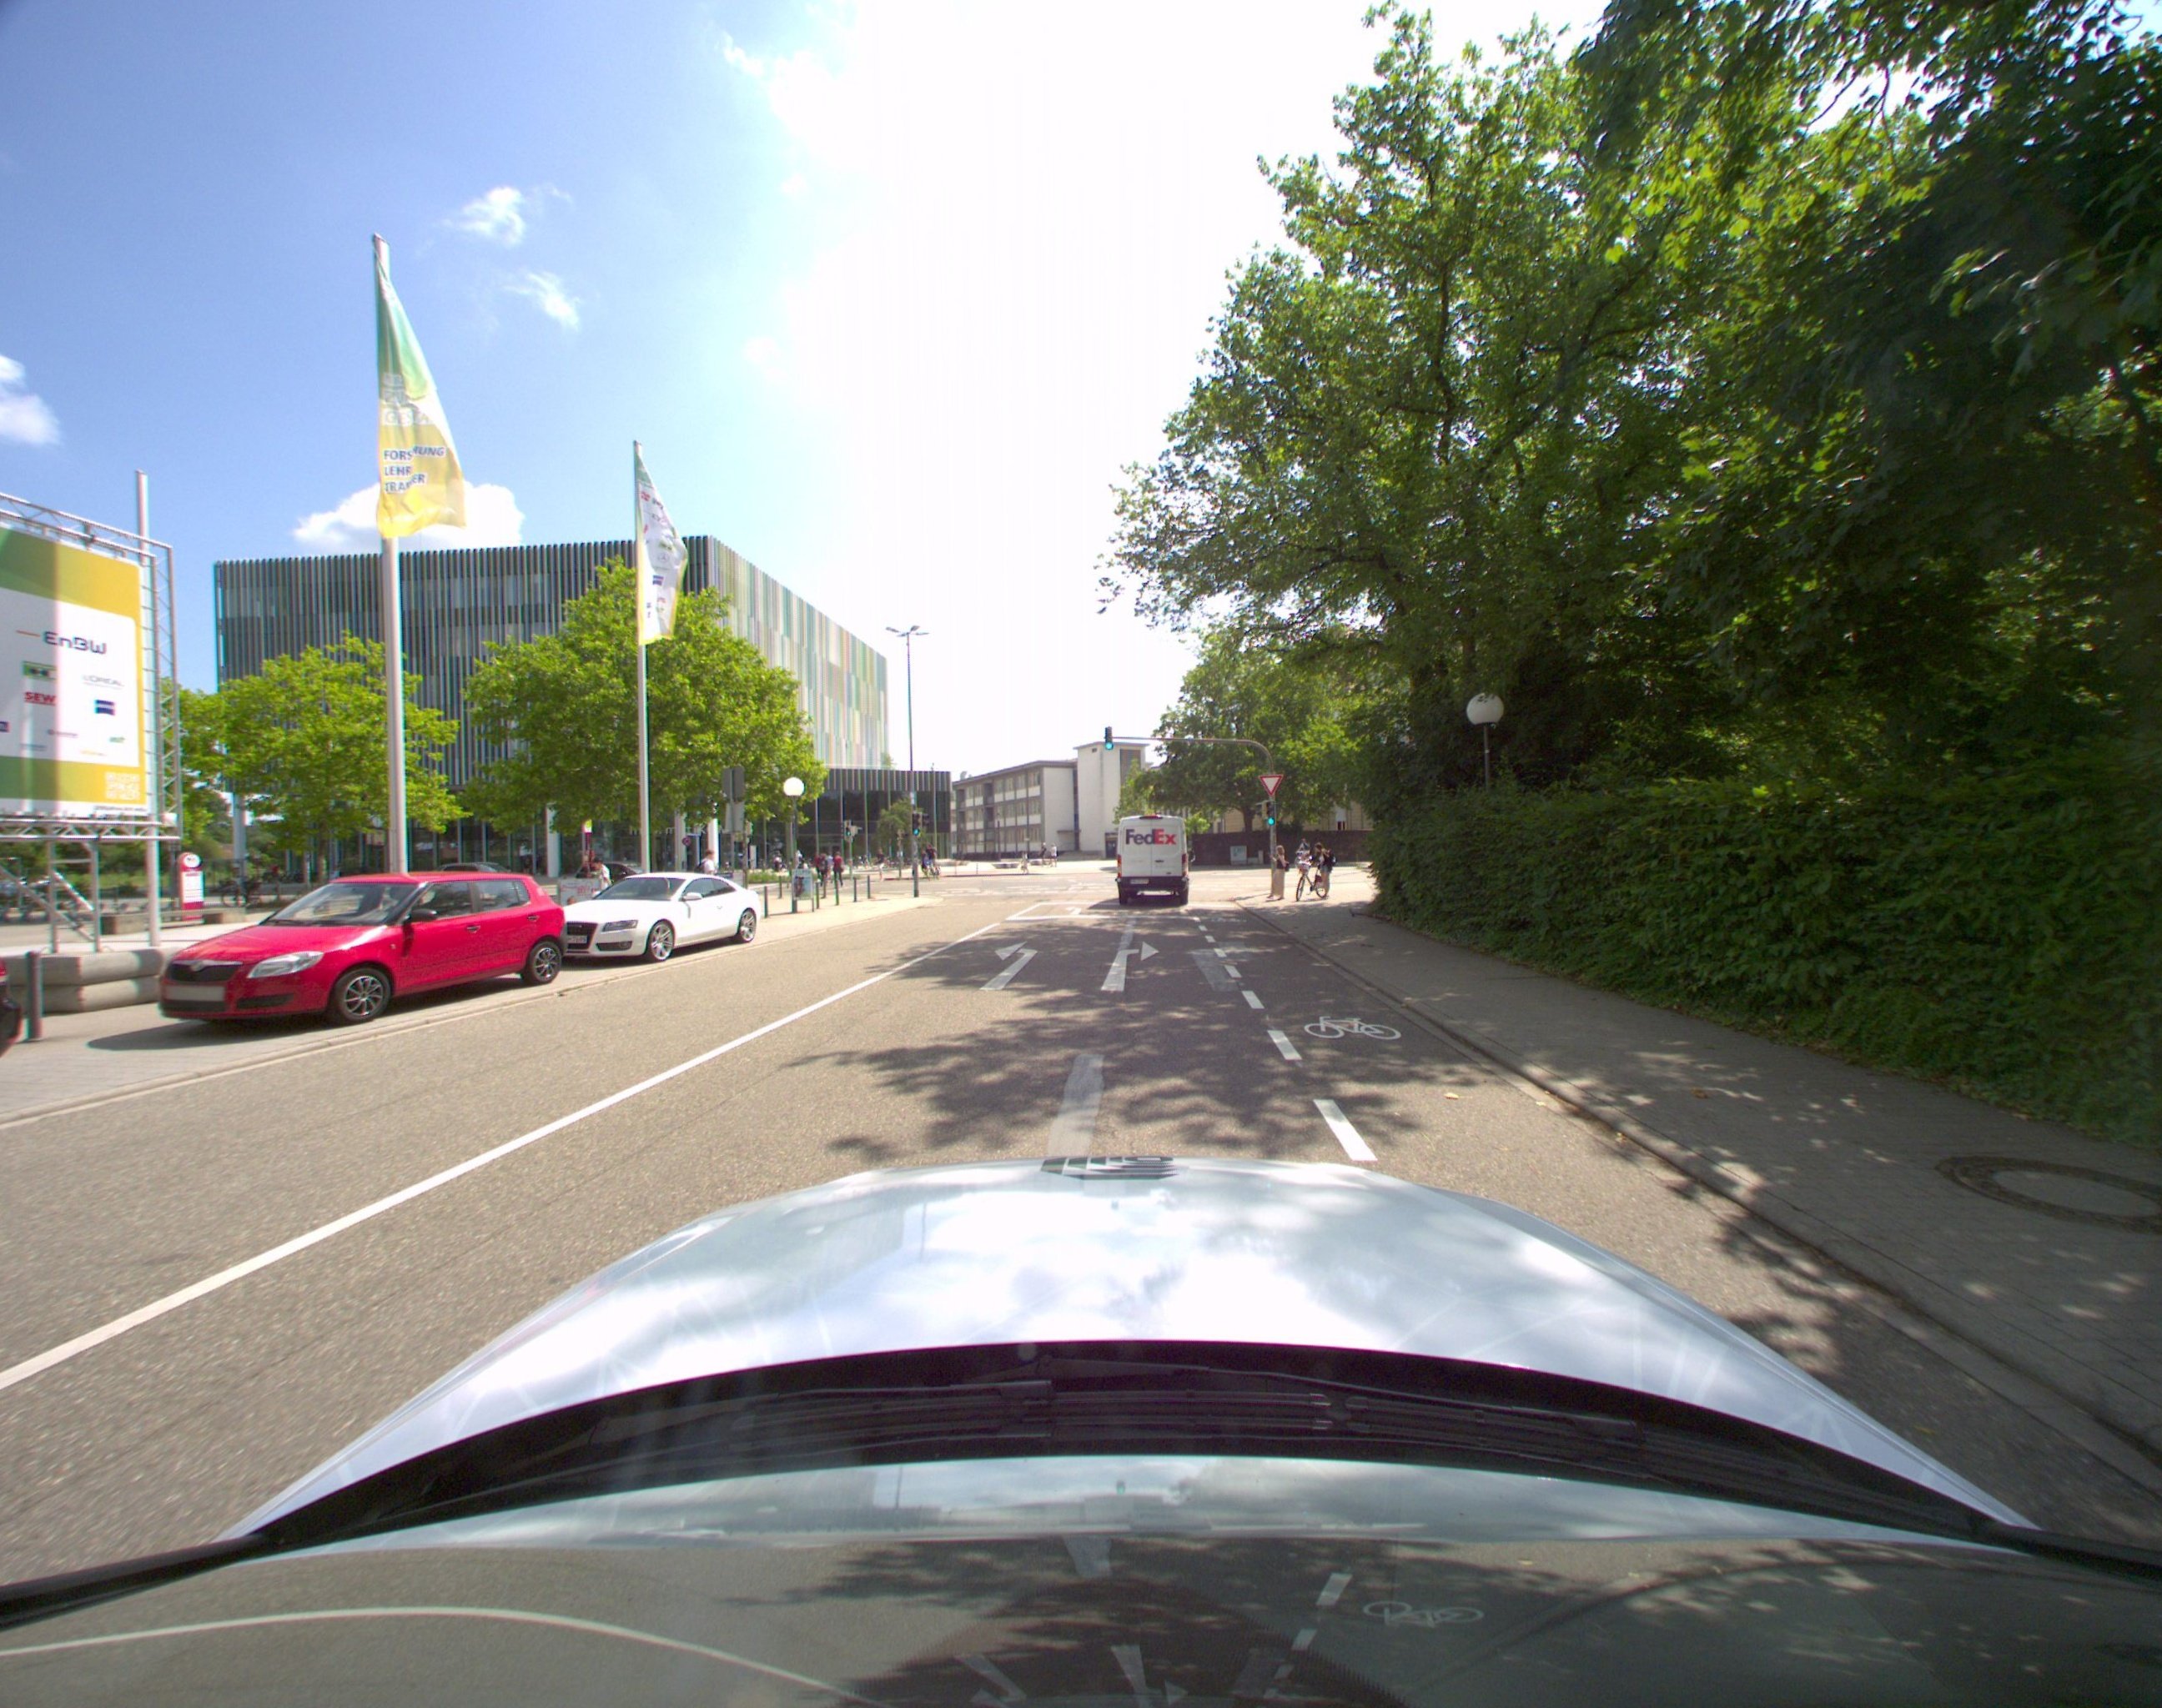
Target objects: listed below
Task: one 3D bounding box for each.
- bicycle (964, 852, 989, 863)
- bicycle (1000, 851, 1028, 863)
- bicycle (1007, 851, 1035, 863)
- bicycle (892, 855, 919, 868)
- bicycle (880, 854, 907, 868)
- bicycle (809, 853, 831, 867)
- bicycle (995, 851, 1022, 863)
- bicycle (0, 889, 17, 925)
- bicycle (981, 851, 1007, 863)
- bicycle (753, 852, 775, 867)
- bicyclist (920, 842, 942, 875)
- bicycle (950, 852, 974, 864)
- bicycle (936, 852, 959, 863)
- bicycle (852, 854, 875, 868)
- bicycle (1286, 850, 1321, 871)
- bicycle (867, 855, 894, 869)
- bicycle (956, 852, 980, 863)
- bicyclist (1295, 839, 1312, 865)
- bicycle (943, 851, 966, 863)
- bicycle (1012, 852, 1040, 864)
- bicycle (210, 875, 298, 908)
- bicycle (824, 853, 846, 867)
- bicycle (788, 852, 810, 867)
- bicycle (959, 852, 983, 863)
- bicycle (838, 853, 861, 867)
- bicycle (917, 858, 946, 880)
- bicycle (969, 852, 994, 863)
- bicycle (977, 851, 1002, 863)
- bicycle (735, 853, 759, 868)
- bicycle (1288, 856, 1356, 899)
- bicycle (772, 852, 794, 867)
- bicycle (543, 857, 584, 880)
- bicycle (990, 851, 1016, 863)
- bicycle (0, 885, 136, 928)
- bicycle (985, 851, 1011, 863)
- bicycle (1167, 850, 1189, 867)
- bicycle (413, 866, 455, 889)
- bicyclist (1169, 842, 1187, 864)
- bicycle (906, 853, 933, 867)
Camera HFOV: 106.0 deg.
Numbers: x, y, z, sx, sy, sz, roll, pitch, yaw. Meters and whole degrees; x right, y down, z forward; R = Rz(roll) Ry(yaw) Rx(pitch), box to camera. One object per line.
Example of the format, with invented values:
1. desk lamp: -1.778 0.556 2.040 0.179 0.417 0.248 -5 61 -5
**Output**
1. bicycle: -13.335 0.410 104.204 2.976 1.363 1.105 -1 0 -33
2. bicycle: -7.825 0.346 95.063 2.976 1.363 1.262 -1 0 -33
3. bicycle: -6.892 0.335 93.725 2.976 1.363 1.105 -1 0 -33
4. bicycle: -16.365 0.706 75.983 1.207 1.237 2.916 -1 0 -41
5. bicycle: -17.371 0.664 75.333 1.207 1.237 2.916 -1 0 -41
6. bicycle: -23.054 0.520 71.978 1.205 1.237 2.921 -1 0 -32
7. bicycle: -8.509 0.323 96.134 2.976 1.363 1.105 -1 0 -33
8. bicycle: -35.498 1.740 25.340 0.996 1.149 2.948 -1 0 -3
9. bicycle: -10.671 0.374 99.583 2.976 1.363 1.105 -1 0 -33
10. bicycle: -26.771 0.473 68.804 1.205 1.237 2.921 -1 0 -32
11. bicyclist: -8.309 0.250 45.159 0.783 1.817 1.003 -2 0 15
12. bicycle: -15.881 0.476 108.497 2.976 1.574 1.105 -1 0 -33
13. bicycle: -18.565 0.462 113.271 2.976 1.574 1.105 -1 0 -33
14. bicycle: -19.776 0.619 73.992 1.205 1.237 2.921 -1 0 -32
15. bicycle: 12.590 0.357 46.148 0.553 1.131 2.154 -1 0 -29
16. bicycle: -18.312 0.686 74.485 1.207 1.237 2.916 -1 0 -41
17. bicycle: -14.906 0.414 107.356 2.976 1.363 1.105 -1 0 -33
18. bicyclist: 12.595 -0.130 46.131 0.517 1.452 0.780 -1 0 -29
19. bicycle: -17.294 0.456 111.456 2.976 1.574 1.105 -1 0 -33
20. bicycle: -6.247 0.433 92.572 2.976 1.363 1.105 -1 0 -33
21. bicycle: -30.064 1.355 29.628 2.598 1.113 0.665 -1 0 2
22. bicycle: -21.979 0.561 72.684 1.205 1.237 2.921 -1 0 -32
23. bicycle: -24.431 0.466 70.491 1.204 1.237 2.923 -1 0 -30
24. bicycle: -14.308 0.407 106.127 2.976 1.363 1.105 -1 0 -33
25. bicycle: -20.882 0.562 73.382 1.205 1.237 2.921 -1 0 -32
26. bicycle: -8.294 0.814 45.226 0.765 1.122 2.034 -2 0 15
27. bicycle: -12.568 0.402 102.657 2.976 1.363 1.105 -1 0 -33
28. bicycle: -11.308 0.387 100.658 2.976 1.363 1.105 -1 0 -33
29. bicycle: -27.962 0.556 68.083 1.383 1.237 2.921 -1 0 -32
30. bicycle: 7.022 0.675 23.745 1.732 1.127 0.593 -4 -1 -2
31. bicycle: -25.562 0.481 69.778 1.205 1.237 2.921 -1 0 -32
32. bicycle: -43.739 1.209 68.906 1.007 1.838 2.963 -1 0 15
33. bicycle: -9.301 0.326 97.361 2.976 1.363 1.105 -1 0 -33
34. bicycle: -31.823 1.622 25.548 0.995 1.148 2.949 -1 0 -2
35. bicycle: -9.997 0.337 98.474 2.976 1.363 1.105 -1 0 -33
36. bicycle: 6.955 0.299 58.256 0.839 1.145 2.008 -1 0 28
37. bicycle: -54.980 1.985 69.229 0.954 1.838 2.958 -1 0 8
38. bicyclist: 6.936 -0.072 58.221 0.841 1.468 1.075 -2 0 28
39. bicycle: -15.255 0.585 76.758 1.207 1.237 2.916 -1 0 -41
